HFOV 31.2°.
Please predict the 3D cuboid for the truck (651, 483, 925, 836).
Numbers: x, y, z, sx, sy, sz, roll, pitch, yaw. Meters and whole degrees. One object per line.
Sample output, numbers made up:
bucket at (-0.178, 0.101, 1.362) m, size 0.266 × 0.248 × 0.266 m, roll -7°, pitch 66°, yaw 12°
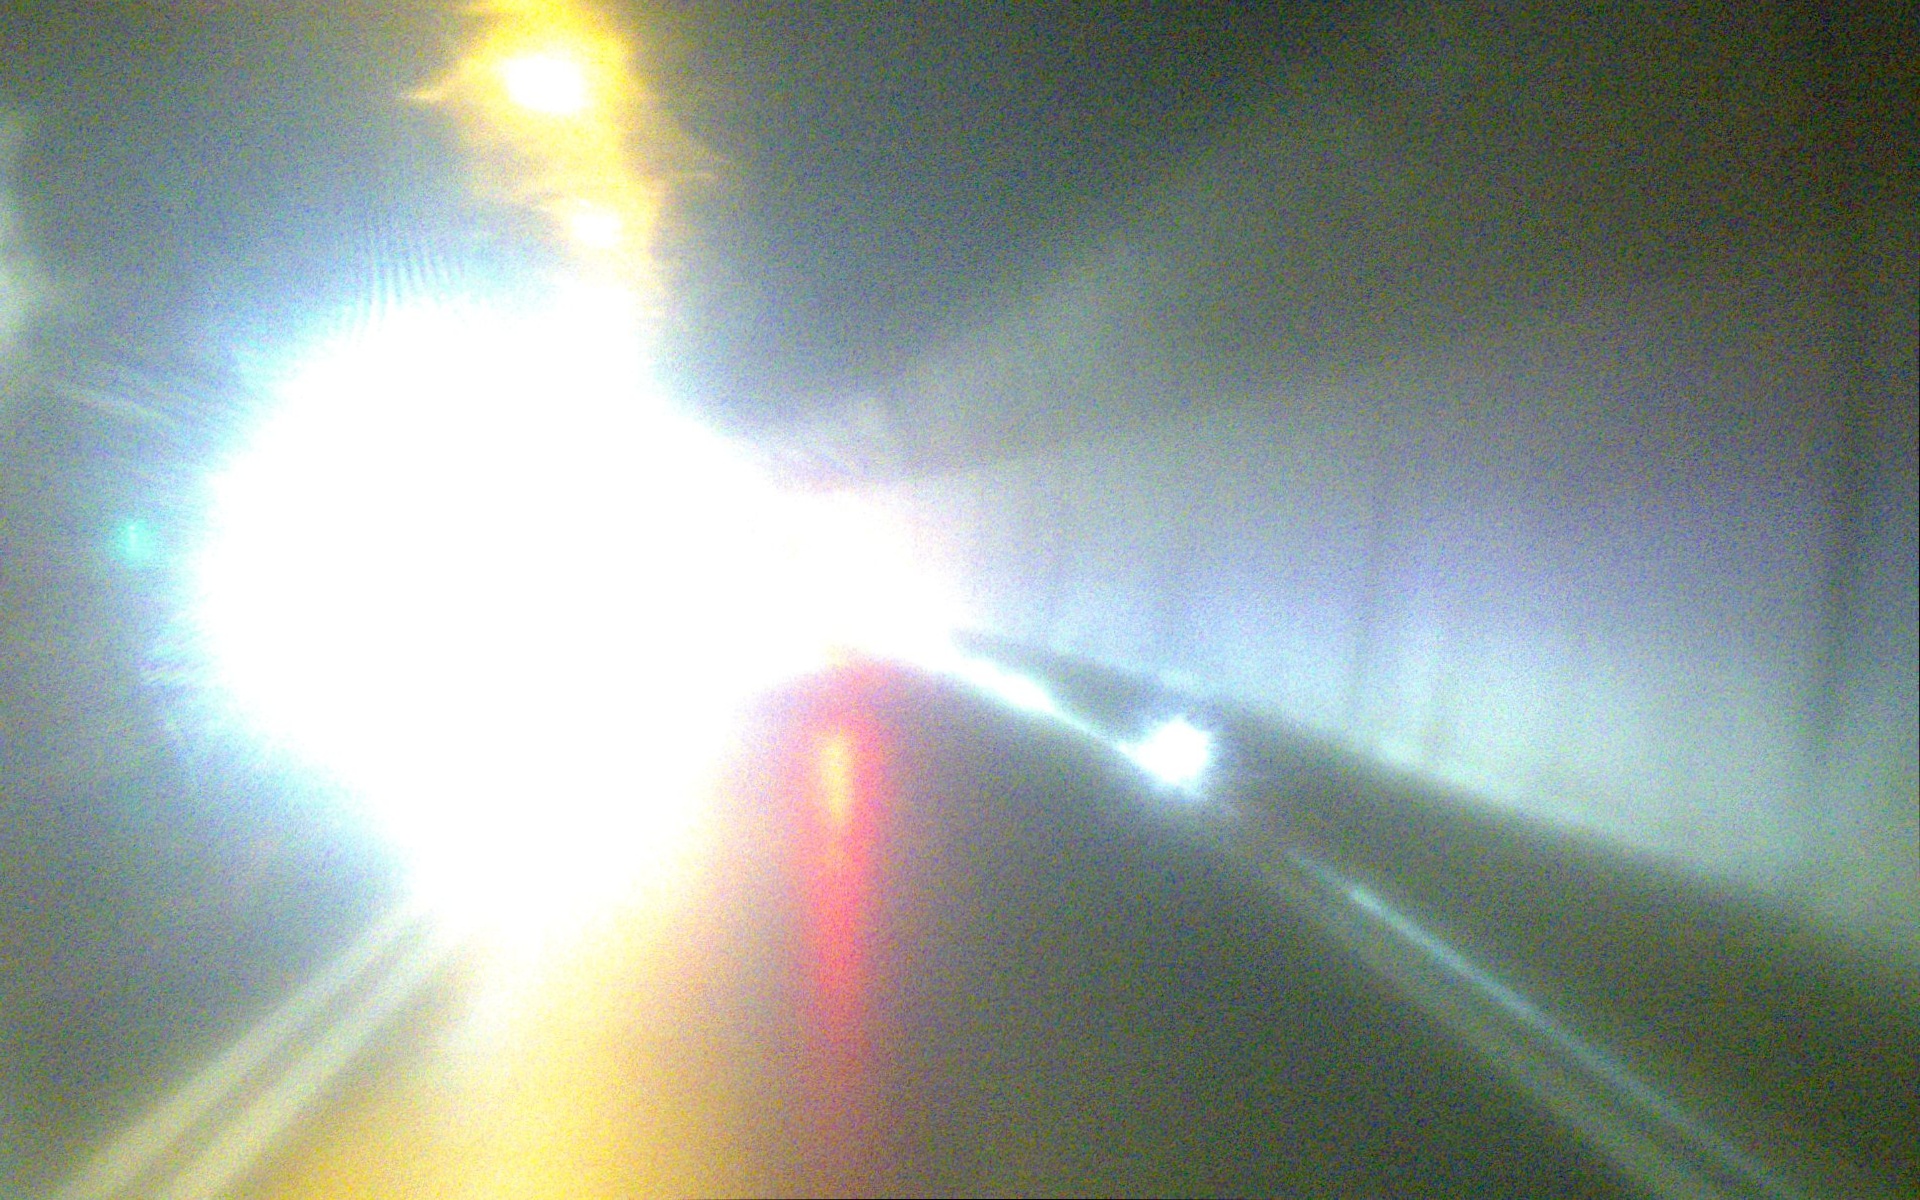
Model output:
truck at (-1.697, 0.475, 33.889) m, size 2.262 × 3.000 × 7.416 m, roll 3°, pitch 1°, yaw -3°
